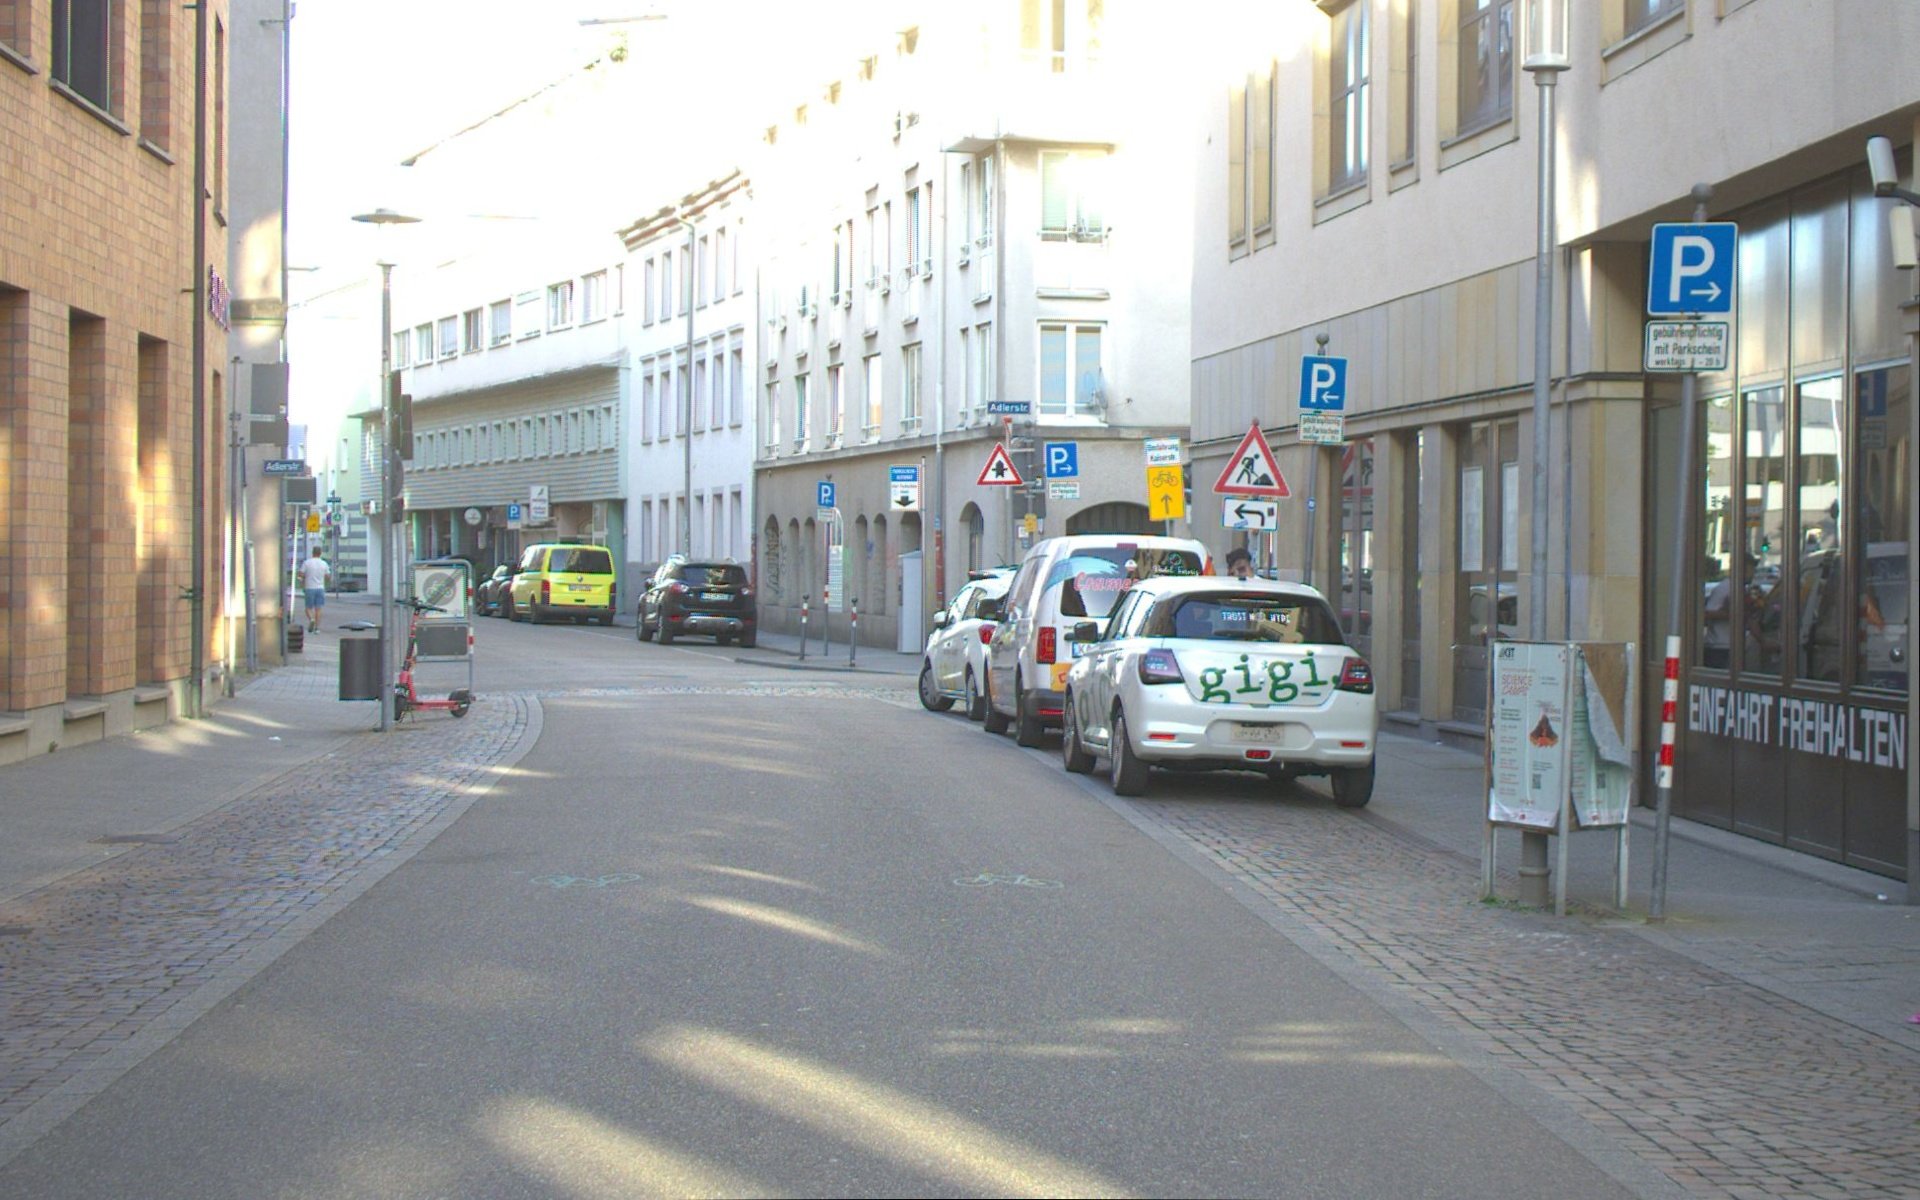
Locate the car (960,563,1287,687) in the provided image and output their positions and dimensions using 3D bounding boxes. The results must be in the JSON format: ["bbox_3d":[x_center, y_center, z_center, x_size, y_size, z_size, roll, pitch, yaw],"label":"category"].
[{"bbox_3d":[2.092,0.309,44.738,3.986,1.557,1.843,0,1,-7],"label":"car"}]

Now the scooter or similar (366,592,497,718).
[{"bbox_3d":[-5.266,0.537,34.311,0.698,1.213,1.355,0,1,22],"label":"scooter or similar"}]

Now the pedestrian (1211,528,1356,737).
[{"bbox_3d":[2.846,0.282,30.356,1.042,1.795,1.199,1,0,-5],"label":"pedestrian"}]

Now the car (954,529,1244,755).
[{"bbox_3d":[1.134,0.318,30.590,1.830,1.785,5.215,2,0,-5],"label":"car"}]

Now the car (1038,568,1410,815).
[{"bbox_3d":[1.757,0.577,24.315,1.840,1.473,4.169,3,1,-6],"label":"car"}]

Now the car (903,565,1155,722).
[{"bbox_3d":[0.668,0.417,36.524,1.888,1.513,4.064,1,1,-10],"label":"car"}]

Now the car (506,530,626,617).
[{"bbox_3d":[-9.449,-0.653,82.211,2.052,2.007,4.176,1,1,-18],"label":"car"}]

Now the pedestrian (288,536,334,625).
[{"bbox_3d":[-12.704,-0.382,67.313,0.765,1.718,0.687,1,1,-19],"label":"pedestrian"}]

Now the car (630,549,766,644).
[{"bbox_3d":[-5.077,-0.087,66.149,1.967,1.686,4.102,2,1,-13],"label":"car"}]
